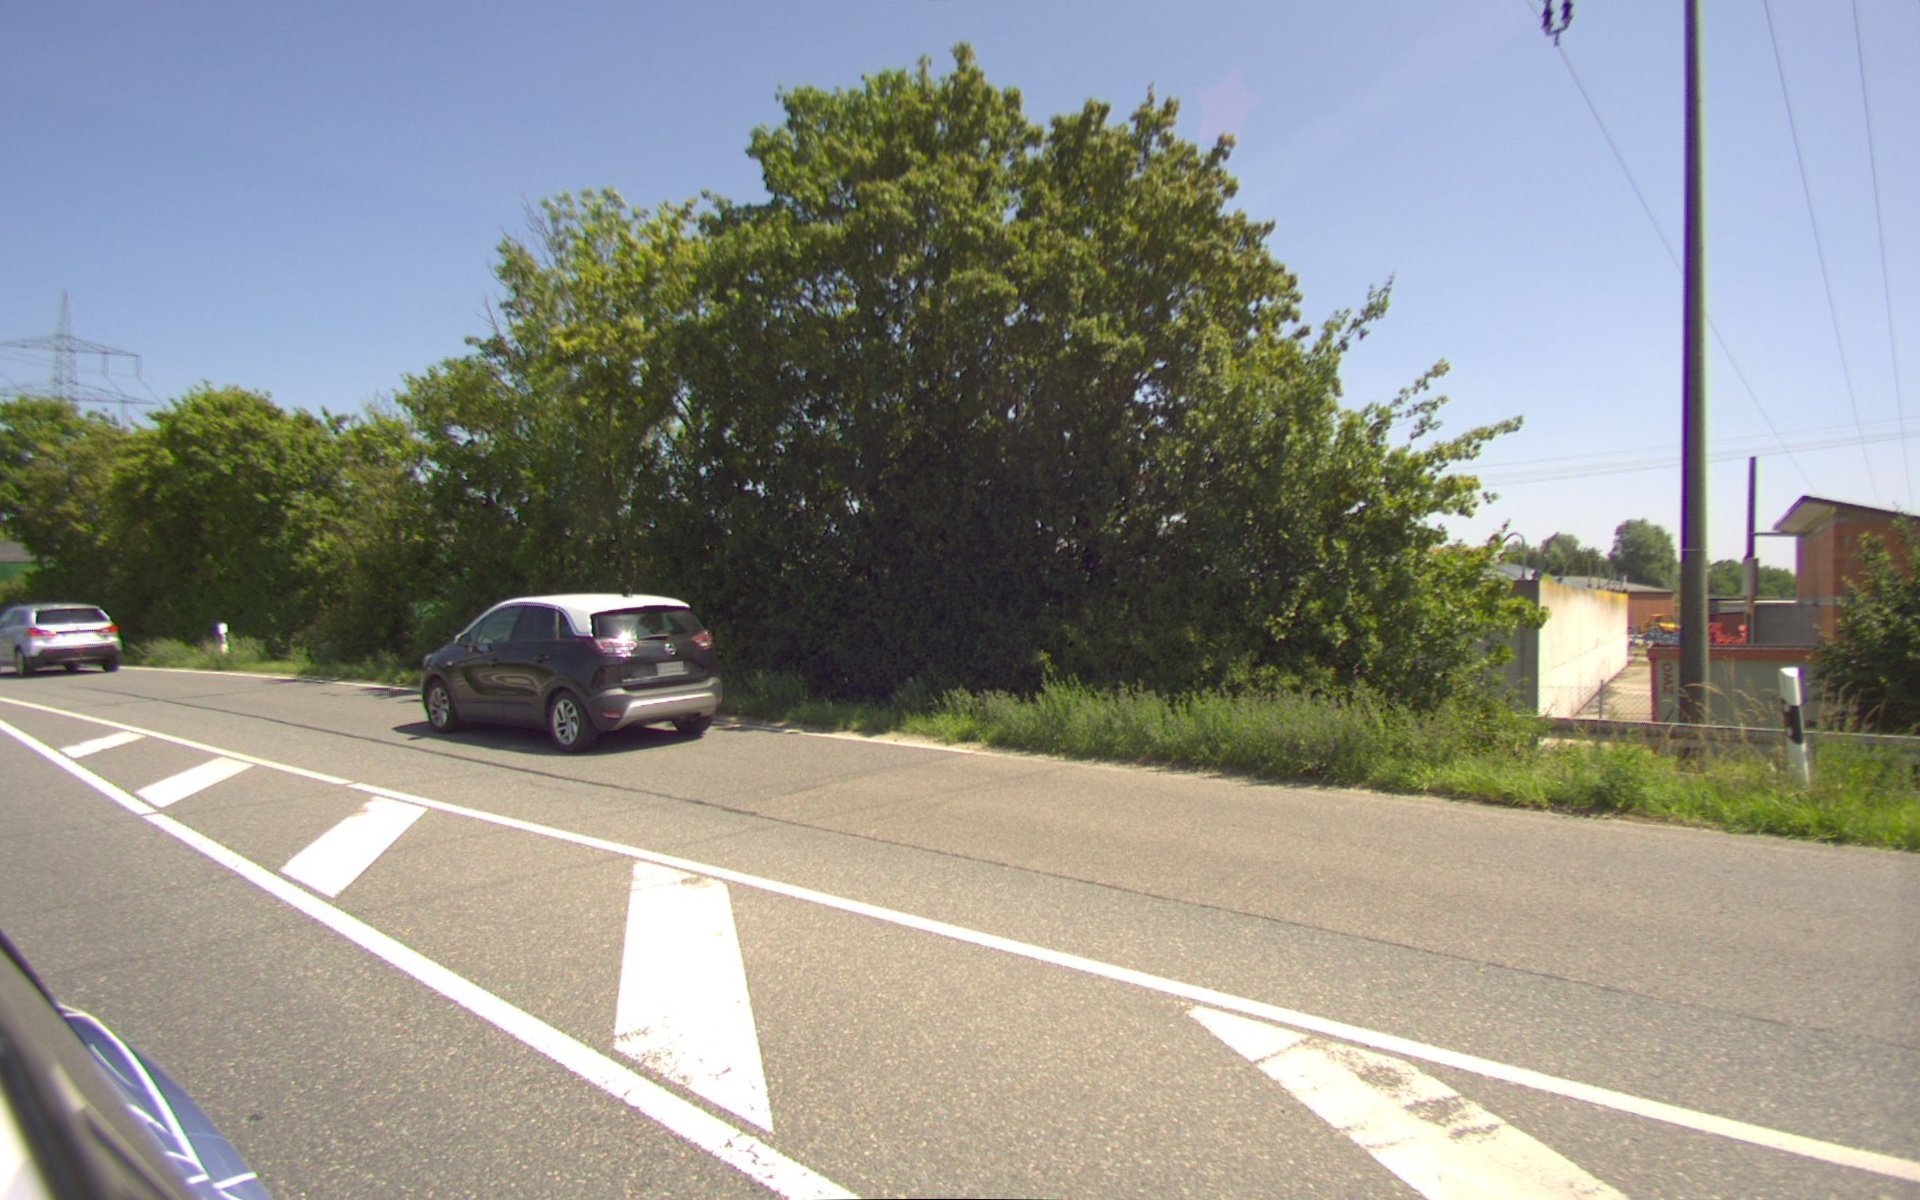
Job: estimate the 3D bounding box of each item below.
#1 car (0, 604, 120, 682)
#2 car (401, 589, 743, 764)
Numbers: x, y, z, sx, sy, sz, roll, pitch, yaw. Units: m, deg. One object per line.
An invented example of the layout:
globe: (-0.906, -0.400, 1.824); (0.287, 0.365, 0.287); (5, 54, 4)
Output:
car: (-21.199, 0.935, 23.294); (3.987, 1.601, 1.728); (-1, 1, 33)
car: (-4.390, 0.717, 11.233); (3.951, 1.602, 1.716); (-1, 1, 37)
